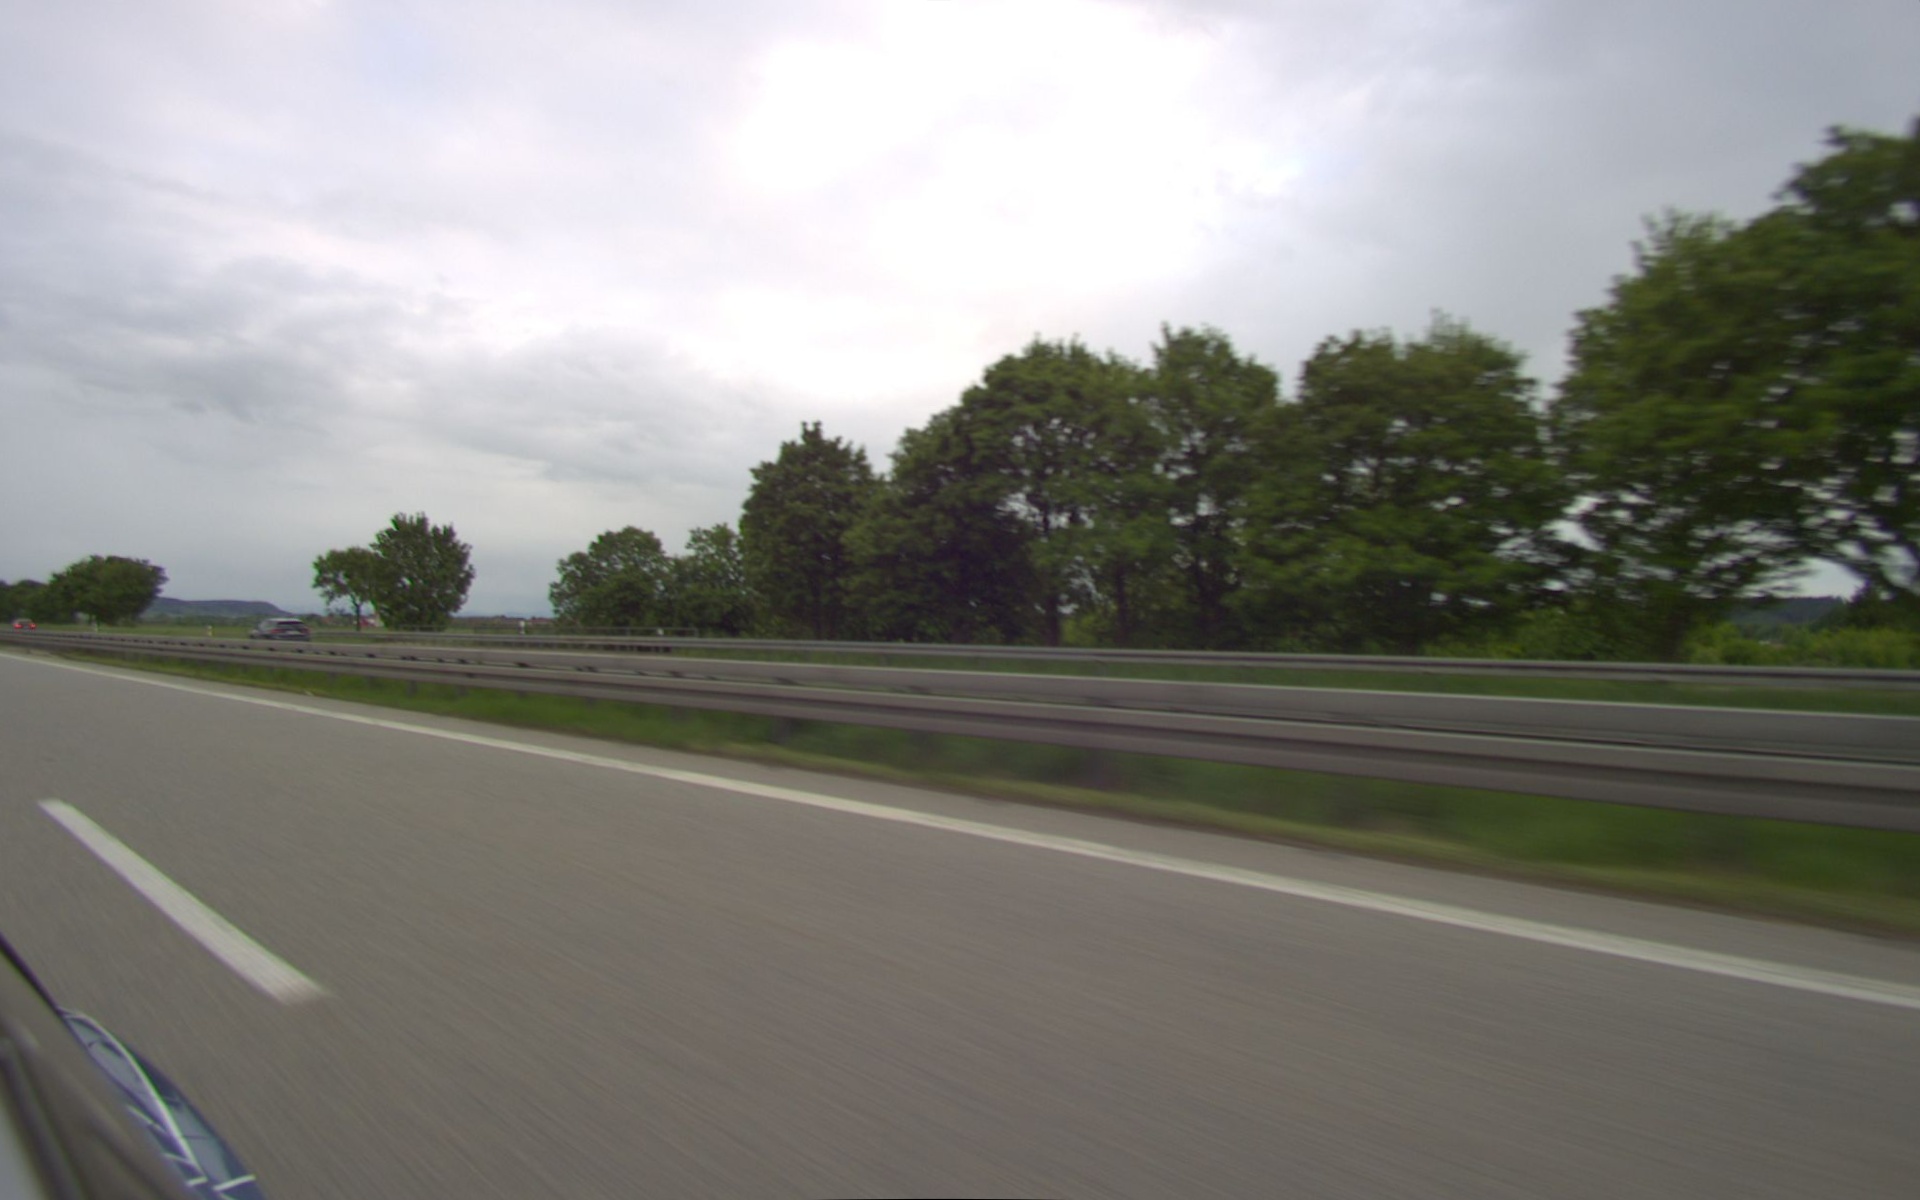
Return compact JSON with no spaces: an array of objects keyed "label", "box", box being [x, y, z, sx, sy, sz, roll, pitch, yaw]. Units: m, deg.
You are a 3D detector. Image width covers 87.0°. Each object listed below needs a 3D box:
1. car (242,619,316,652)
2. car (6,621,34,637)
[{"label":"car","box":[-35.093,1.794,52.094,4.807,1.594,1.973,-1,0,41]},{"label":"car","box":[-103.549,3.195,111.484,4.521,1.574,1.799,0,1,41]}]
